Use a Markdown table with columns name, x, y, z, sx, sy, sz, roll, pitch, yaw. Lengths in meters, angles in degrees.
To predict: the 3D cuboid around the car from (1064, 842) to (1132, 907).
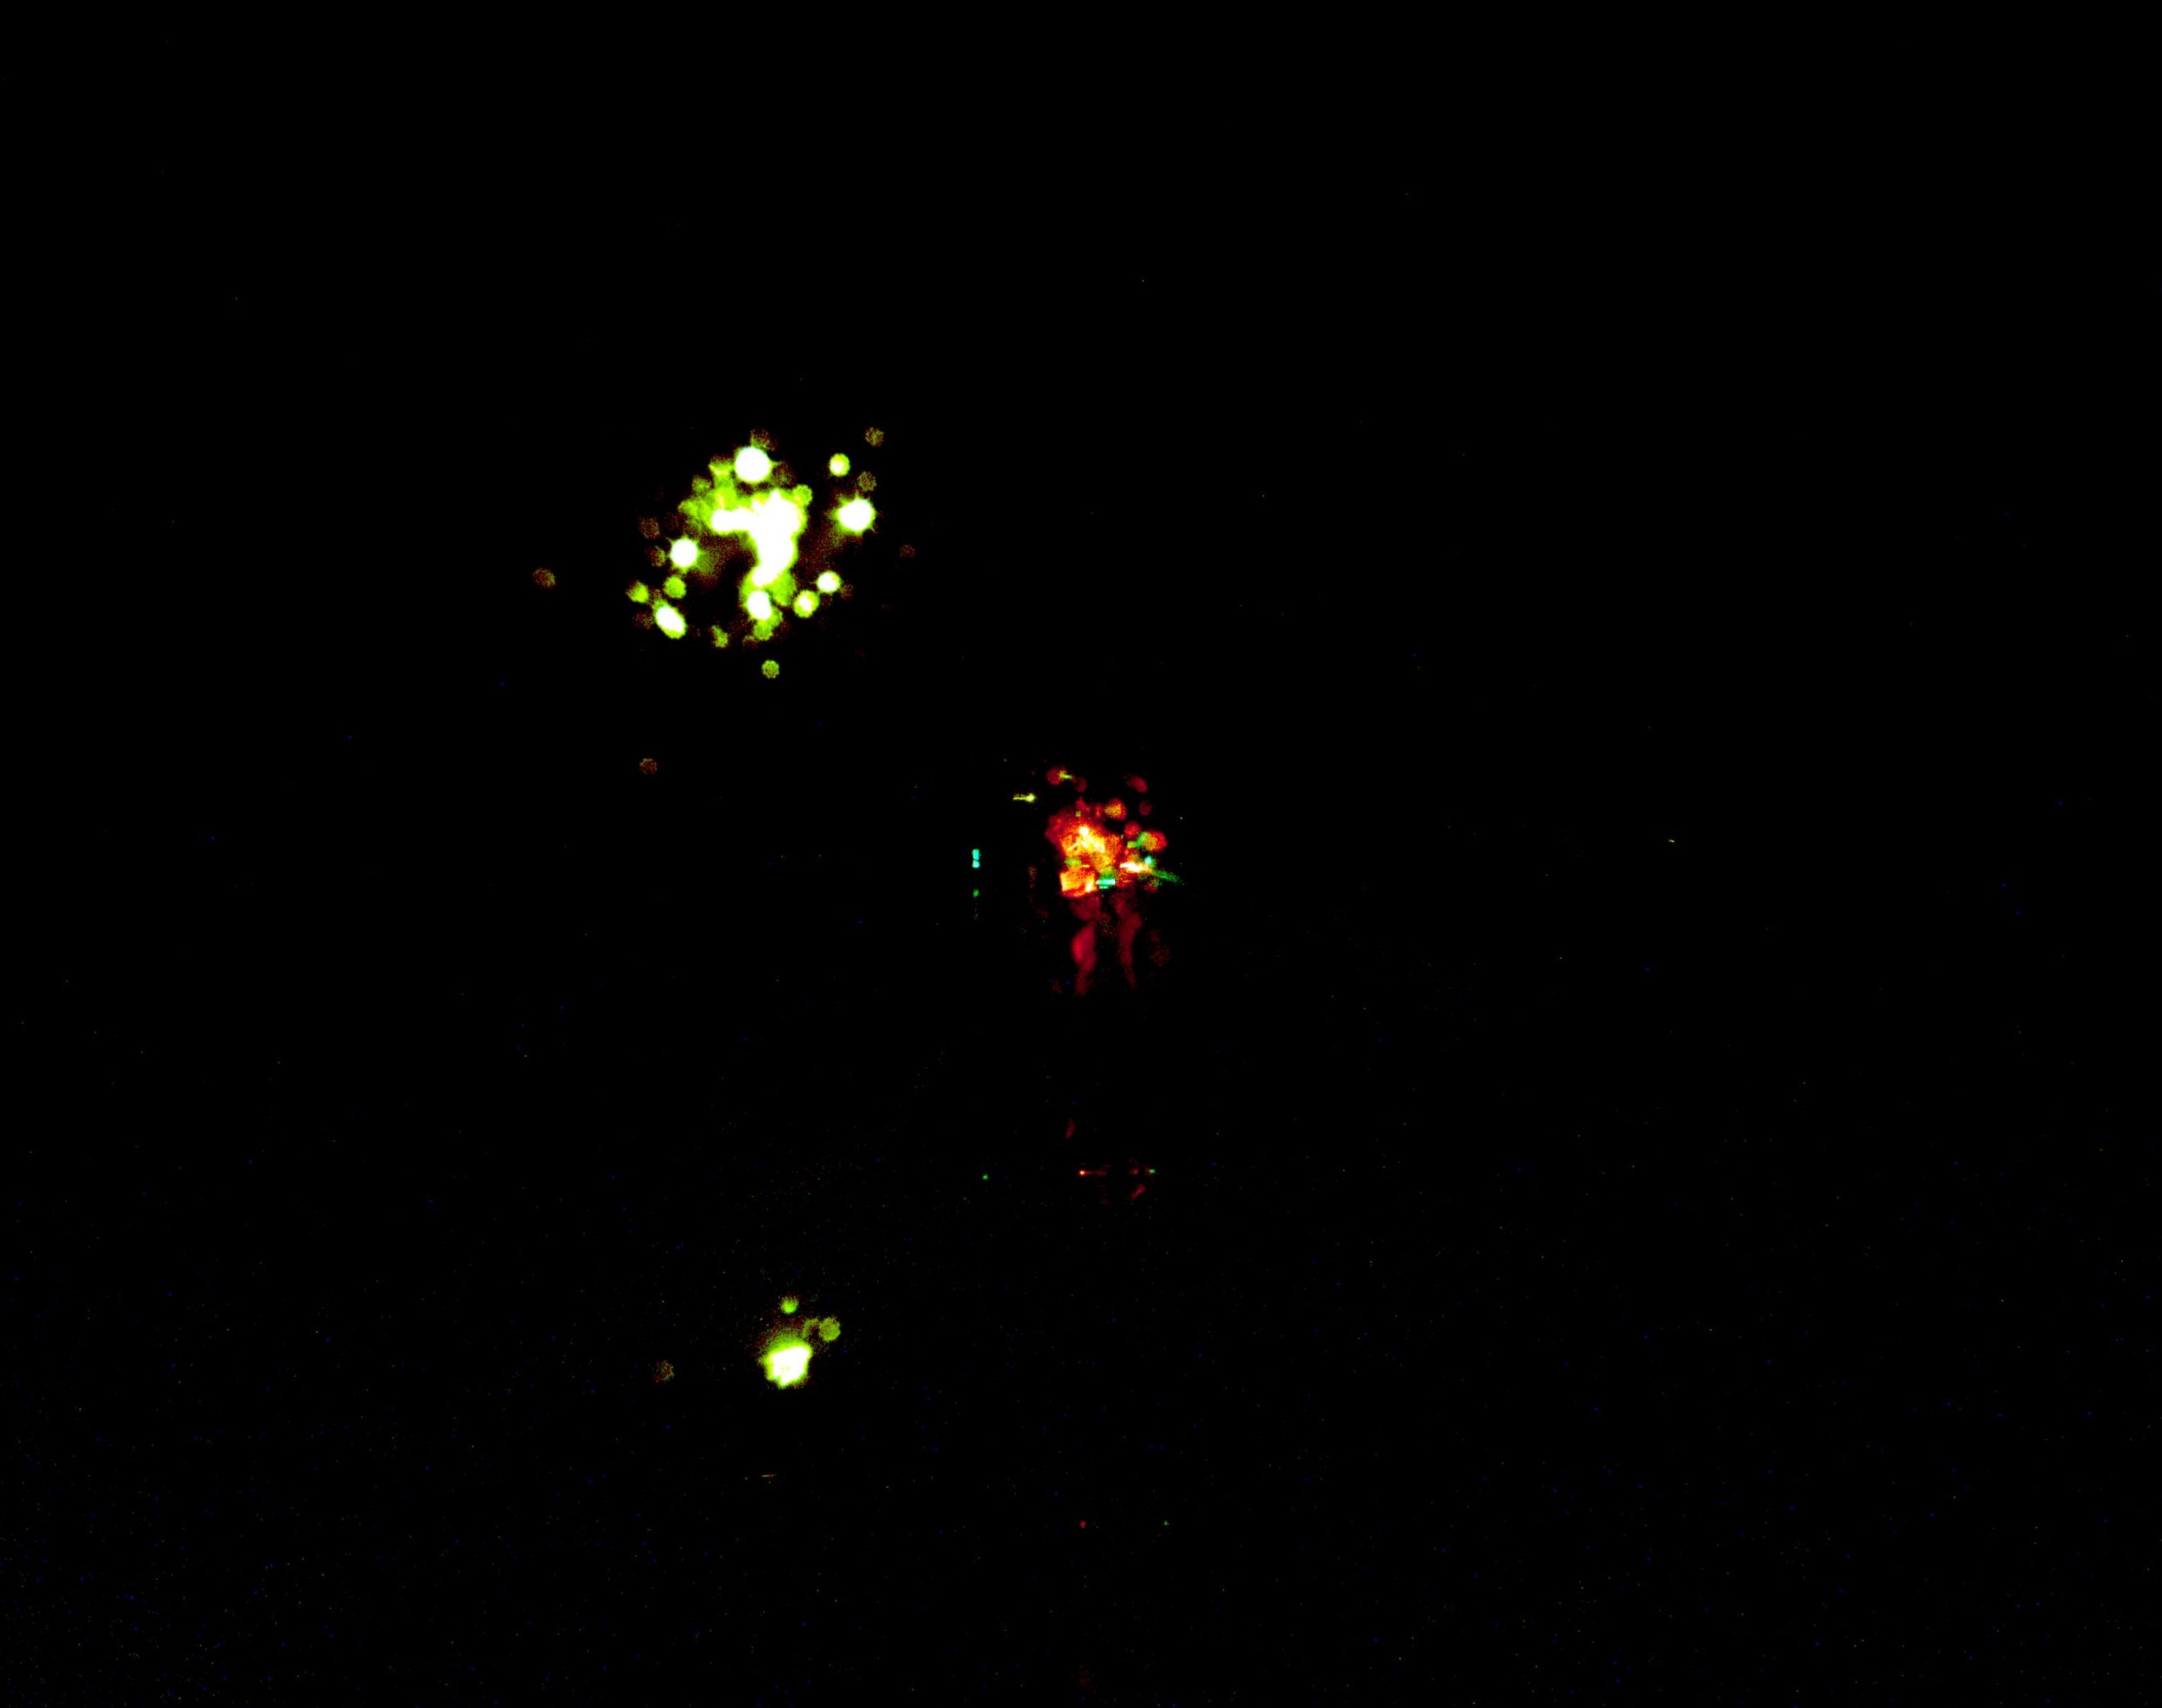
| name | x | y | z | sx | sy | sz | roll | pitch | yaw |
| --- | --- | --- | --- | --- | --- | --- | --- | --- | --- |
| car | 0.542 | 0.524 | 23.704 | 1.784 | 1.681 | 3.907 | -1 | 1 | 2 |
